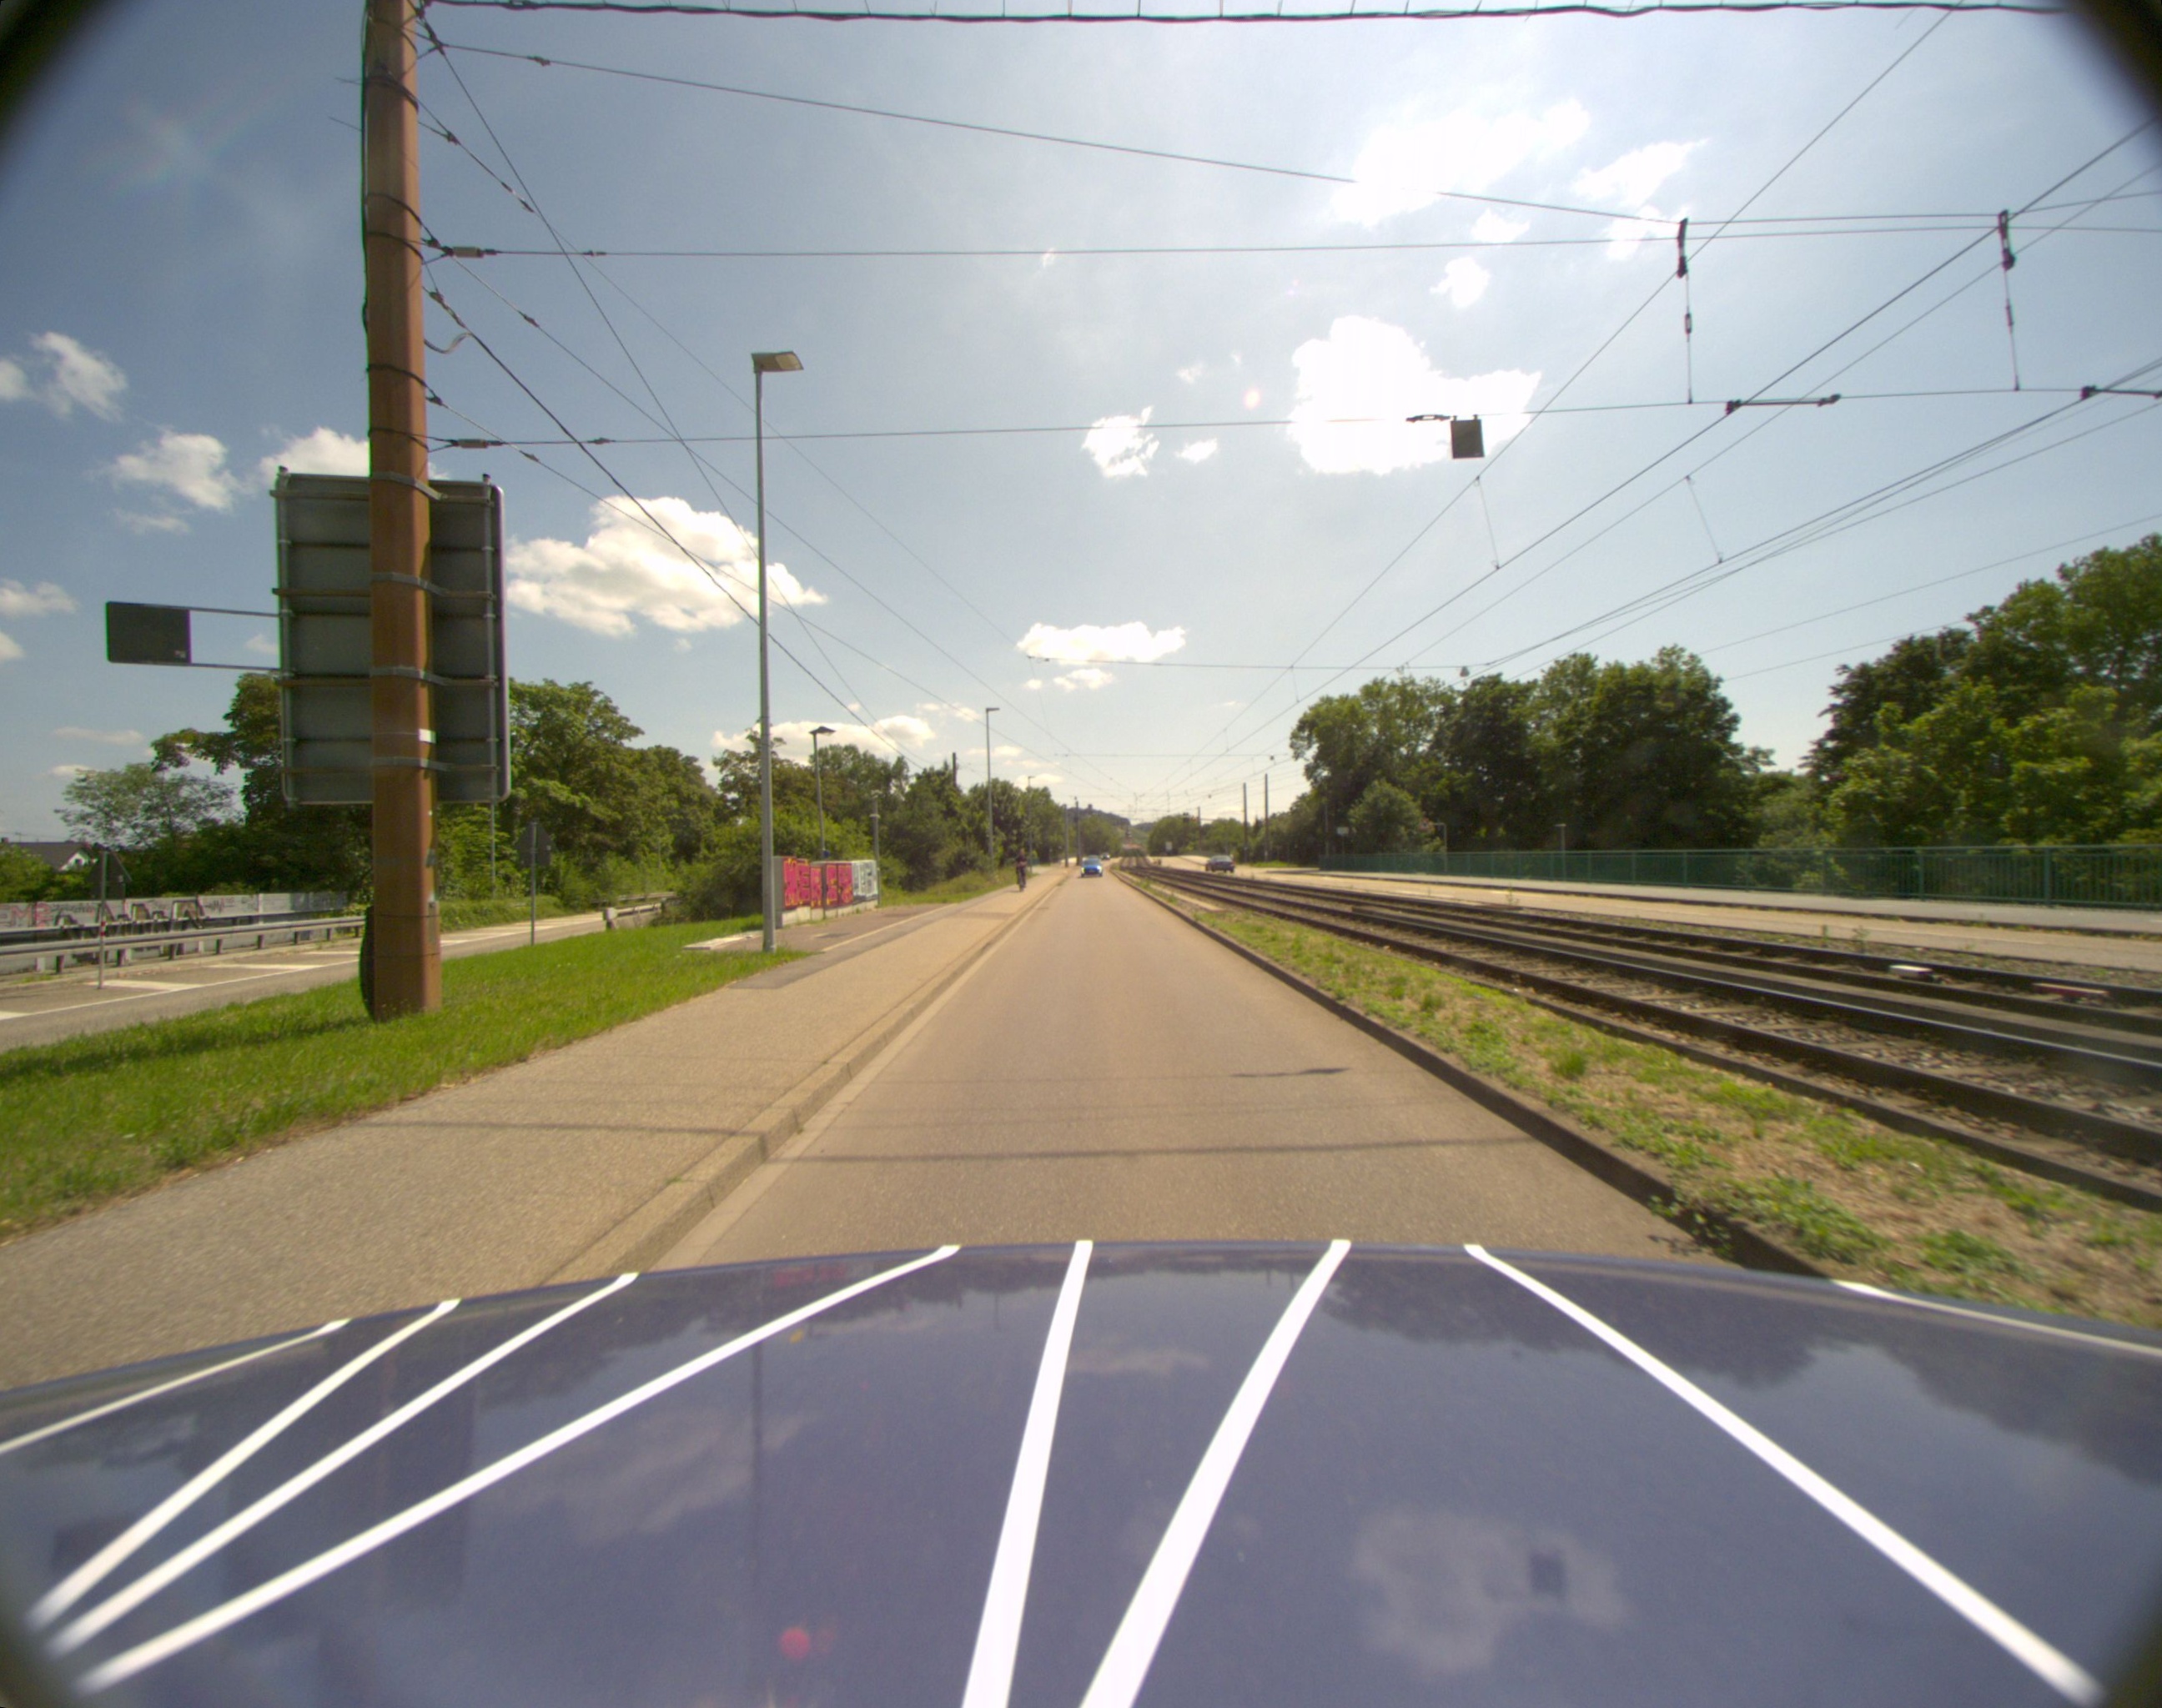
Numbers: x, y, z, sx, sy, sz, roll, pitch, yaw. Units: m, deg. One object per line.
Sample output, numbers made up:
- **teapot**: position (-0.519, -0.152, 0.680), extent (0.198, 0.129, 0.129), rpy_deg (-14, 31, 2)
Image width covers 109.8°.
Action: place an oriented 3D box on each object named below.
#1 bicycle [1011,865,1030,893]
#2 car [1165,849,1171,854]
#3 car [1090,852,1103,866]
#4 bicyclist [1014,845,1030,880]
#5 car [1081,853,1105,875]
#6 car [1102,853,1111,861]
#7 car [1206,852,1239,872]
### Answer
- **bicycle**: position (-2.600, 1.055, 32.639), extent (0.433, 1.145, 1.856), rpy_deg (-2, -1, 5)
- **car**: position (25.059, -0.623, 219.337), extent (1.708, 1.501, 3.734), rpy_deg (0, 0, 5)
- **car**: position (2.124, 0.737, 102.459), extent (1.683, 1.737, 3.686), rpy_deg (-2, -1, 2)
- **bicyclist**: position (-2.578, 0.380, 33.232), extent (0.586, 1.486, 0.558), rpy_deg (-2, -1, 5)
- **car**: position (0.960, 0.787, 60.603), extent (1.864, 1.630, 4.001), rpy_deg (-2, -1, 1)
- **car**: position (5.459, 0.636, 161.383), extent (1.730, 1.696, 4.001), rpy_deg (-2, 0, 3)
- **car**: position (12.599, 0.681, 67.904), extent (1.880, 1.710, 5.330), rpy_deg (-2, 0, 0)
